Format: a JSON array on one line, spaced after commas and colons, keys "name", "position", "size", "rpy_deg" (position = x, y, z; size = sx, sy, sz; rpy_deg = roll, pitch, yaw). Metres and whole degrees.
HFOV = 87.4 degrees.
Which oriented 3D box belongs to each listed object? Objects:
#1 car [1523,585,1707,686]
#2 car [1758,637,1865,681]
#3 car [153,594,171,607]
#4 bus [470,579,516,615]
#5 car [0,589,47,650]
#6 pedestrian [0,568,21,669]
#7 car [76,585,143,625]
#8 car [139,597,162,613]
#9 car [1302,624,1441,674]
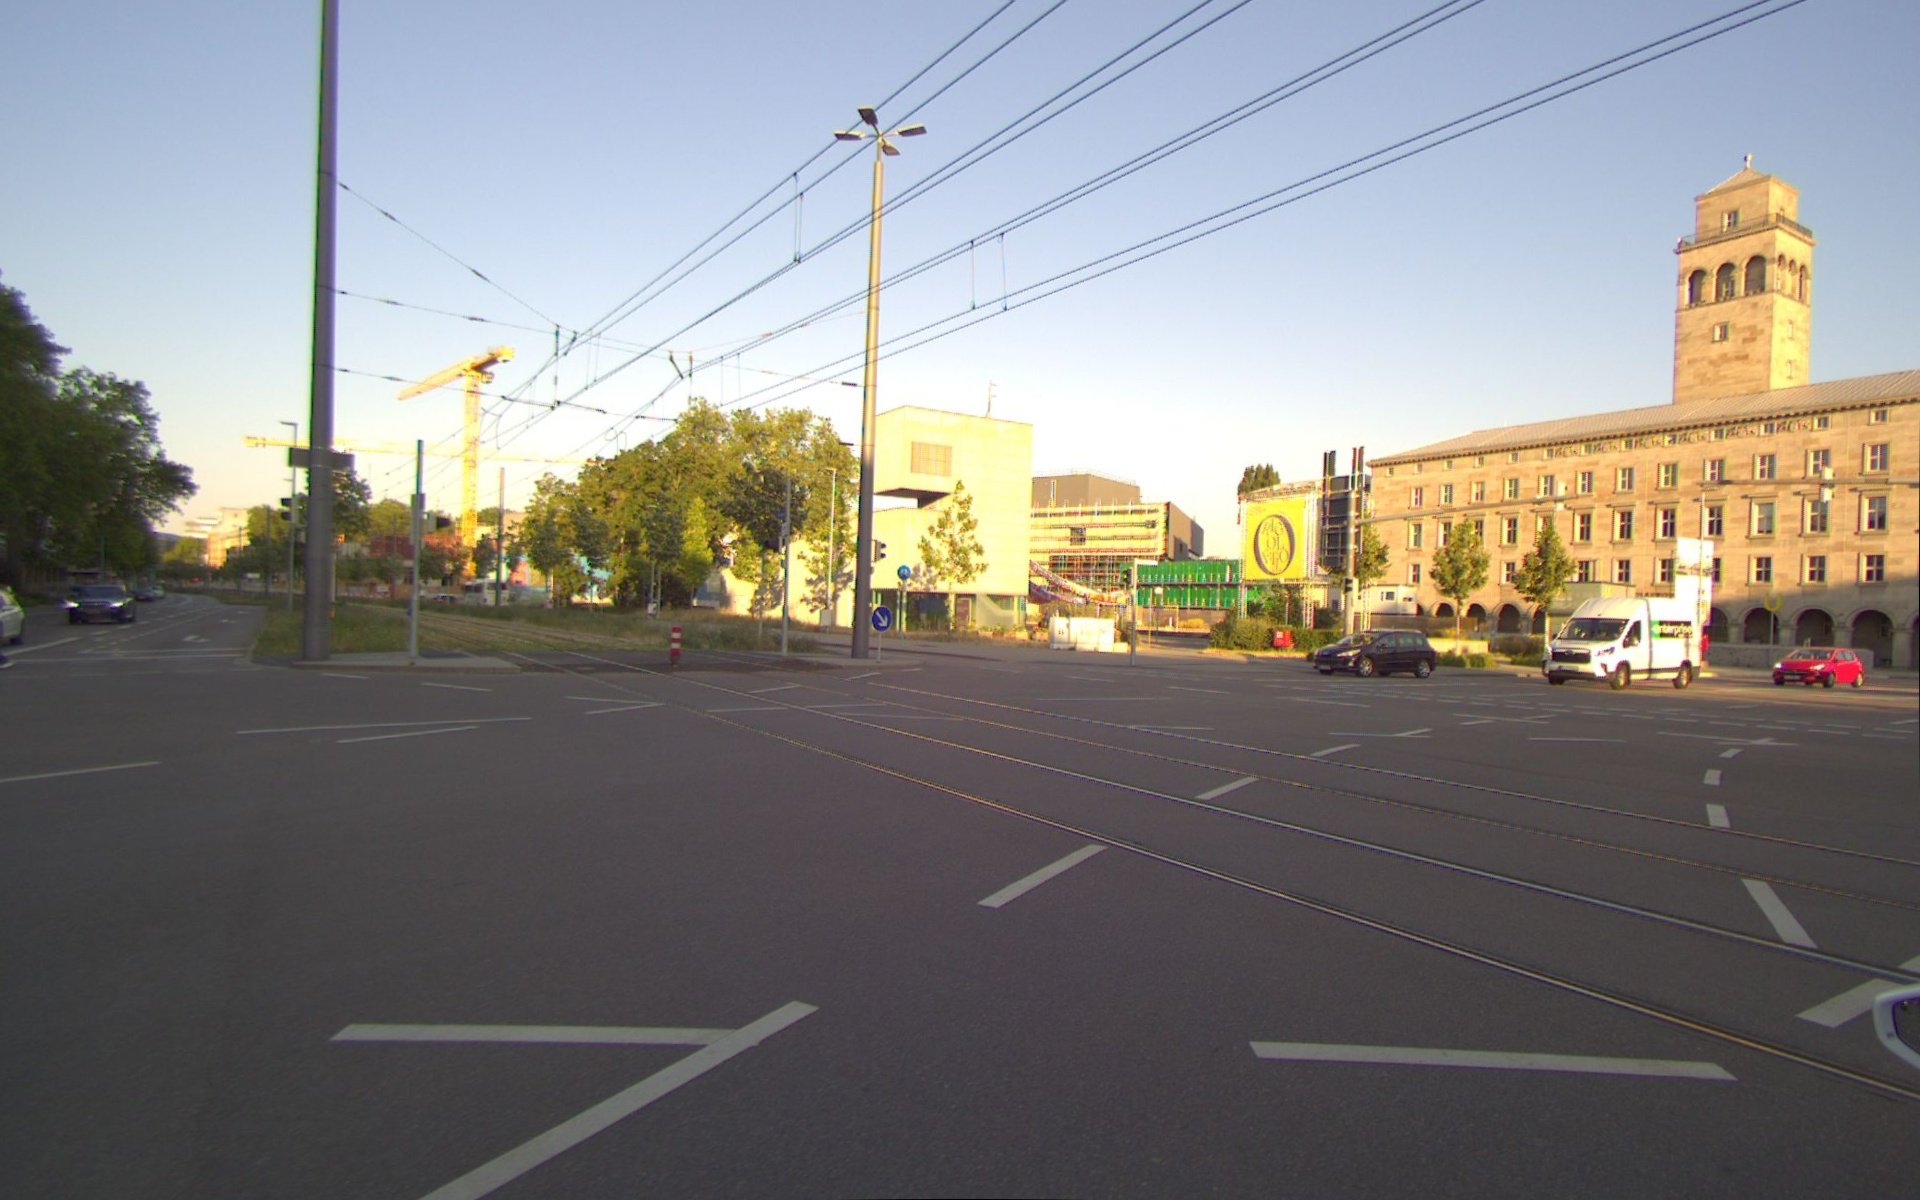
[{"name": "car", "position": [19.977, 1.083, 30.542], "size": [6.014, 2.813, 2.267], "rpy_deg": [2, 0, -31]}, {"name": "car", "position": [32.199, 2.217, 37.985], "size": [3.949, 1.507, 1.732], "rpy_deg": [1, 0, -28]}, {"name": "car", "position": [-101.822, -0.001, 128.201], "size": [1.726, 1.605, 4.542], "rpy_deg": [1, 0, -37]}, {"name": "bus", "position": [-52.675, -0.394, 113.107], "size": [2.961, 3.819, 10.336], "rpy_deg": [2, 0, -35]}, {"name": "car", "position": [-25.005, 0.448, 25.503], "size": [1.830, 1.476, 4.552], "rpy_deg": [1, 0, -31]}, {"name": "pedestrian", "position": [-16.985, 0.302, 17.365], "size": [0.949, 1.744, 0.815], "rpy_deg": [2, 0, -35]}, {"name": "car", "position": [-36.115, 0.206, 42.751], "size": [1.834, 1.605, 4.544], "rpy_deg": [1, 0, -36]}, {"name": "car", "position": [-84.971, 0.501, 105.476], "size": [1.726, 1.605, 4.542], "rpy_deg": [1, 0, -37]}, {"name": "car", "position": [13.368, 1.593, 32.629], "size": [4.099, 1.486, 1.818], "rpy_deg": [1, 0, -24]}]
